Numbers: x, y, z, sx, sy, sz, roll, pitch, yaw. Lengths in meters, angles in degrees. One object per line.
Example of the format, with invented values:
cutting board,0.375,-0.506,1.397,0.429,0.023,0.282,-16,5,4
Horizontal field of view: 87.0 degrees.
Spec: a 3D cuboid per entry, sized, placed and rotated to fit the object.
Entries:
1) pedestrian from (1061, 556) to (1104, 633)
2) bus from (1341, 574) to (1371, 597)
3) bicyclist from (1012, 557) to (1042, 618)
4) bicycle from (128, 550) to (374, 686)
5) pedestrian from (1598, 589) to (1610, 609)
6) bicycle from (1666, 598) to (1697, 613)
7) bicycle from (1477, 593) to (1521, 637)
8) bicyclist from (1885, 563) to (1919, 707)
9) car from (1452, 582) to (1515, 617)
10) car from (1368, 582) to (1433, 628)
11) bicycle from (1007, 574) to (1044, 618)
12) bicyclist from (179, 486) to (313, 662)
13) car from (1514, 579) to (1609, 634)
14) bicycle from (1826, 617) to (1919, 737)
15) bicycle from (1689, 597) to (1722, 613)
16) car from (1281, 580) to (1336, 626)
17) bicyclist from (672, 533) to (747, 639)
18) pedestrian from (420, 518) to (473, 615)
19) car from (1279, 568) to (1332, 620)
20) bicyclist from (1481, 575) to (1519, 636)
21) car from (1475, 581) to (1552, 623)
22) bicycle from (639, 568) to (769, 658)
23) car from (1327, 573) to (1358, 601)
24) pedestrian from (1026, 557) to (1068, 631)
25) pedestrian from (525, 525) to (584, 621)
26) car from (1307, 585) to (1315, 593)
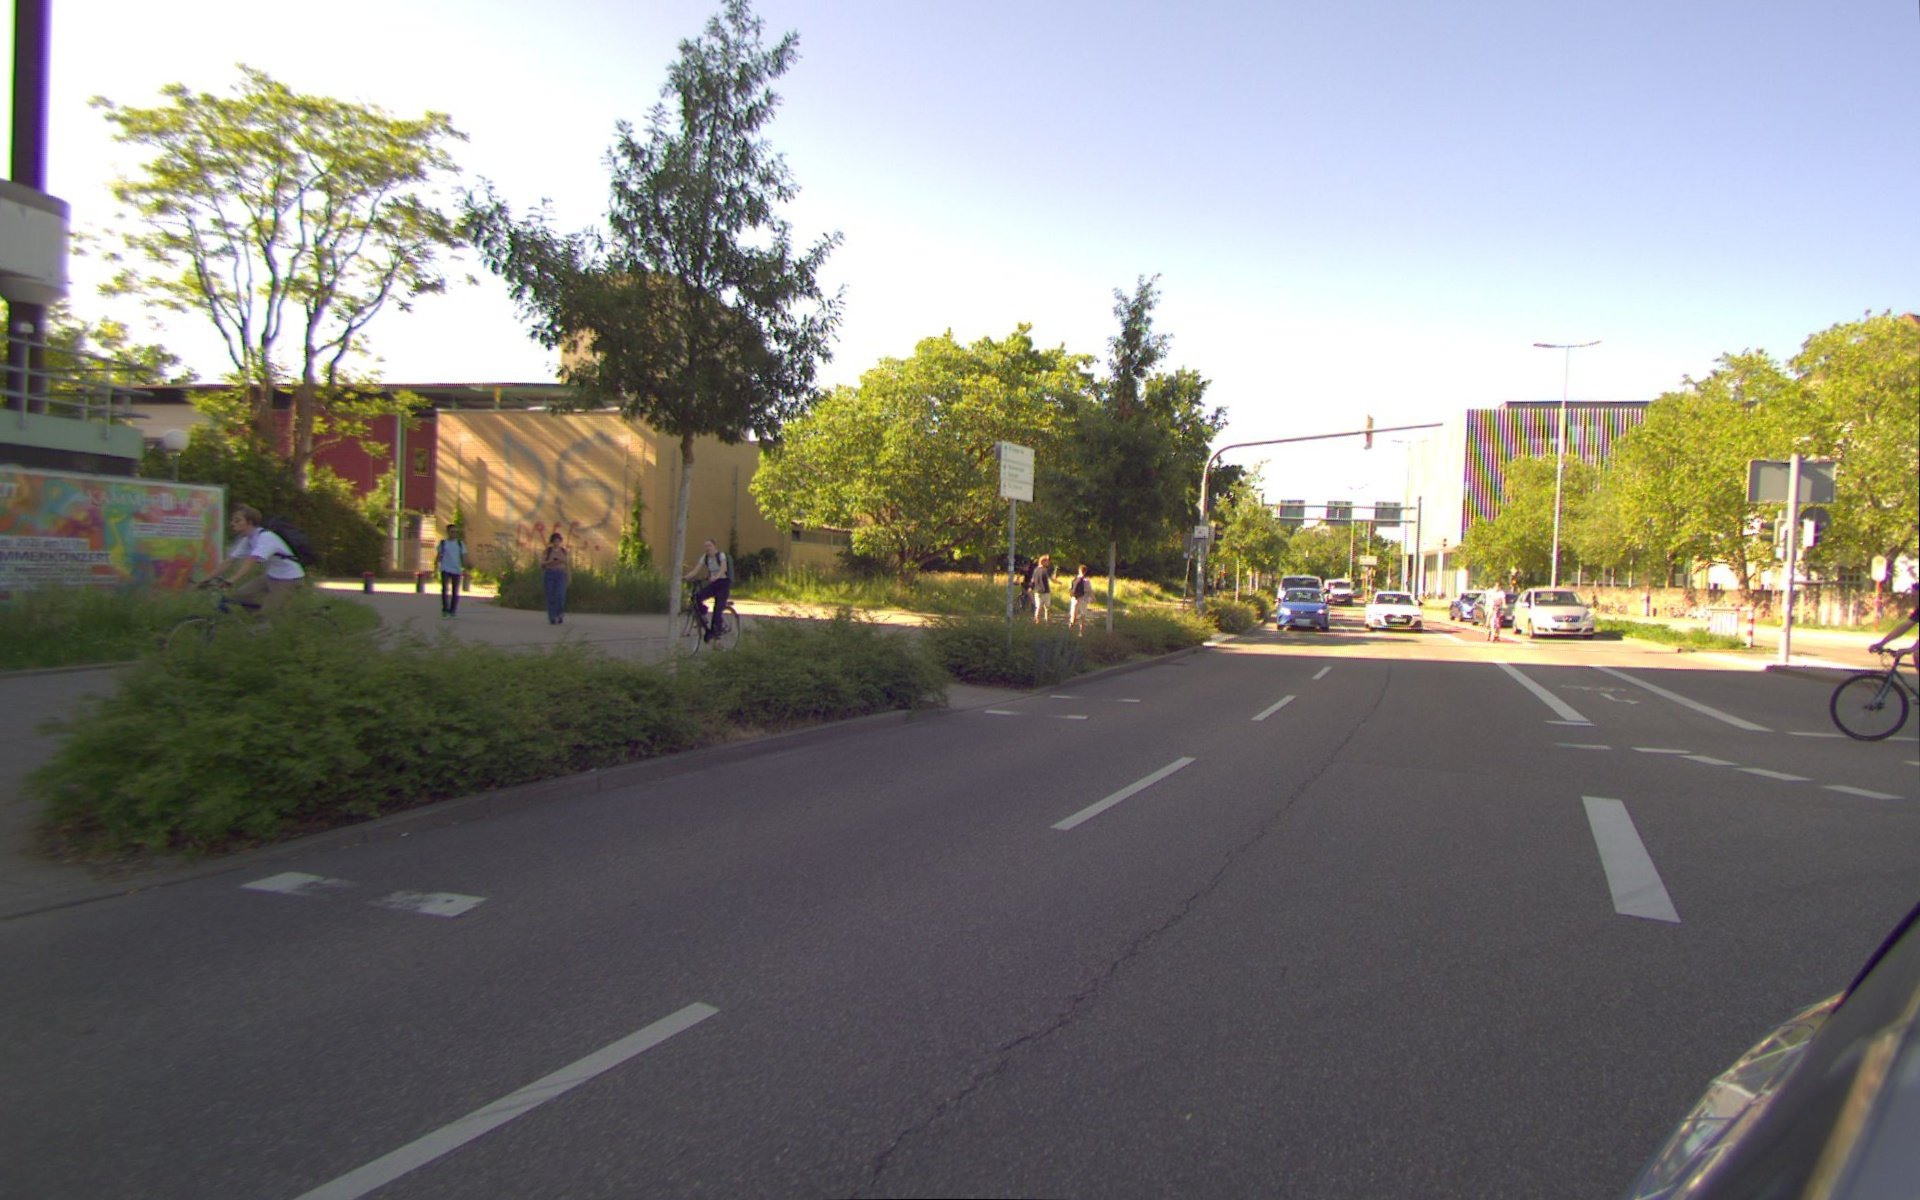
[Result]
pedestrian,2.993,-0.134,24.747,0.726,1.839,0.727,2,-1,33
bus,61.719,-2.207,157.867,2.940,3.315,6.237,3,-1,10
bicyclist,1.890,-0.352,28.579,0.634,1.665,0.772,2,1,16
bicycle,-6.976,0.130,10.079,0.636,1.179,1.942,5,3,23
pedestrian,52.939,-0.107,83.212,0.643,1.631,0.556,2,-1,14
bicycle,53.790,0.399,75.428,0.781,1.090,2.085,3,-1,0
bicycle,15.899,0.420,29.881,0.738,1.179,1.861,3,3,17
bicyclist,10.274,0.365,10.375,0.939,1.462,0.640,1,1,15
car,25.001,-0.050,48.473,1.958,1.573,4.695,1,1,19
car,15.737,0.138,36.189,1.978,1.487,3.969,2,2,23
bicycle,1.859,-0.123,28.536,0.634,1.179,1.861,3,1,16
bicyclist,-6.995,-0.264,9.934,0.625,1.614,0.826,5,3,24
car,19.561,0.160,33.101,1.767,1.645,4.289,1,1,19
bicycle,10.201,0.801,10.403,1.843,1.180,0.640,1,1,16
bicycle,53.844,0.383,73.083,0.781,1.090,2.085,3,-1,0
car,12.055,0.077,35.021,1.683,1.460,3.975,1,1,19
bicyclist,-3.619,-0.205,14.615,0.639,1.462,0.767,5,3,34
pedestrian,-9.224,-0.591,18.167,0.665,1.664,0.736,3,-1,-36
car,14.130,-0.257,41.384,1.914,1.977,4.728,1,1,19
bicyclist,15.874,0.146,29.781,0.736,1.705,0.973,3,3,17
car,22.538,0.057,41.411,1.958,1.573,4.695,1,1,19
bicycle,-3.658,0.157,14.606,0.639,1.179,1.848,5,3,33
car,28.495,-0.947,75.457,1.913,1.977,4.506,1,1,18
pedestrian,2.183,-0.155,25.306,0.726,1.804,0.727,2,-1,33
pedestrian,-7.269,-0.476,18.147,0.666,1.664,0.734,4,-1,-45
car,78.047,-2.410,225.133,1.671,1.612,3.578,1,1,18
